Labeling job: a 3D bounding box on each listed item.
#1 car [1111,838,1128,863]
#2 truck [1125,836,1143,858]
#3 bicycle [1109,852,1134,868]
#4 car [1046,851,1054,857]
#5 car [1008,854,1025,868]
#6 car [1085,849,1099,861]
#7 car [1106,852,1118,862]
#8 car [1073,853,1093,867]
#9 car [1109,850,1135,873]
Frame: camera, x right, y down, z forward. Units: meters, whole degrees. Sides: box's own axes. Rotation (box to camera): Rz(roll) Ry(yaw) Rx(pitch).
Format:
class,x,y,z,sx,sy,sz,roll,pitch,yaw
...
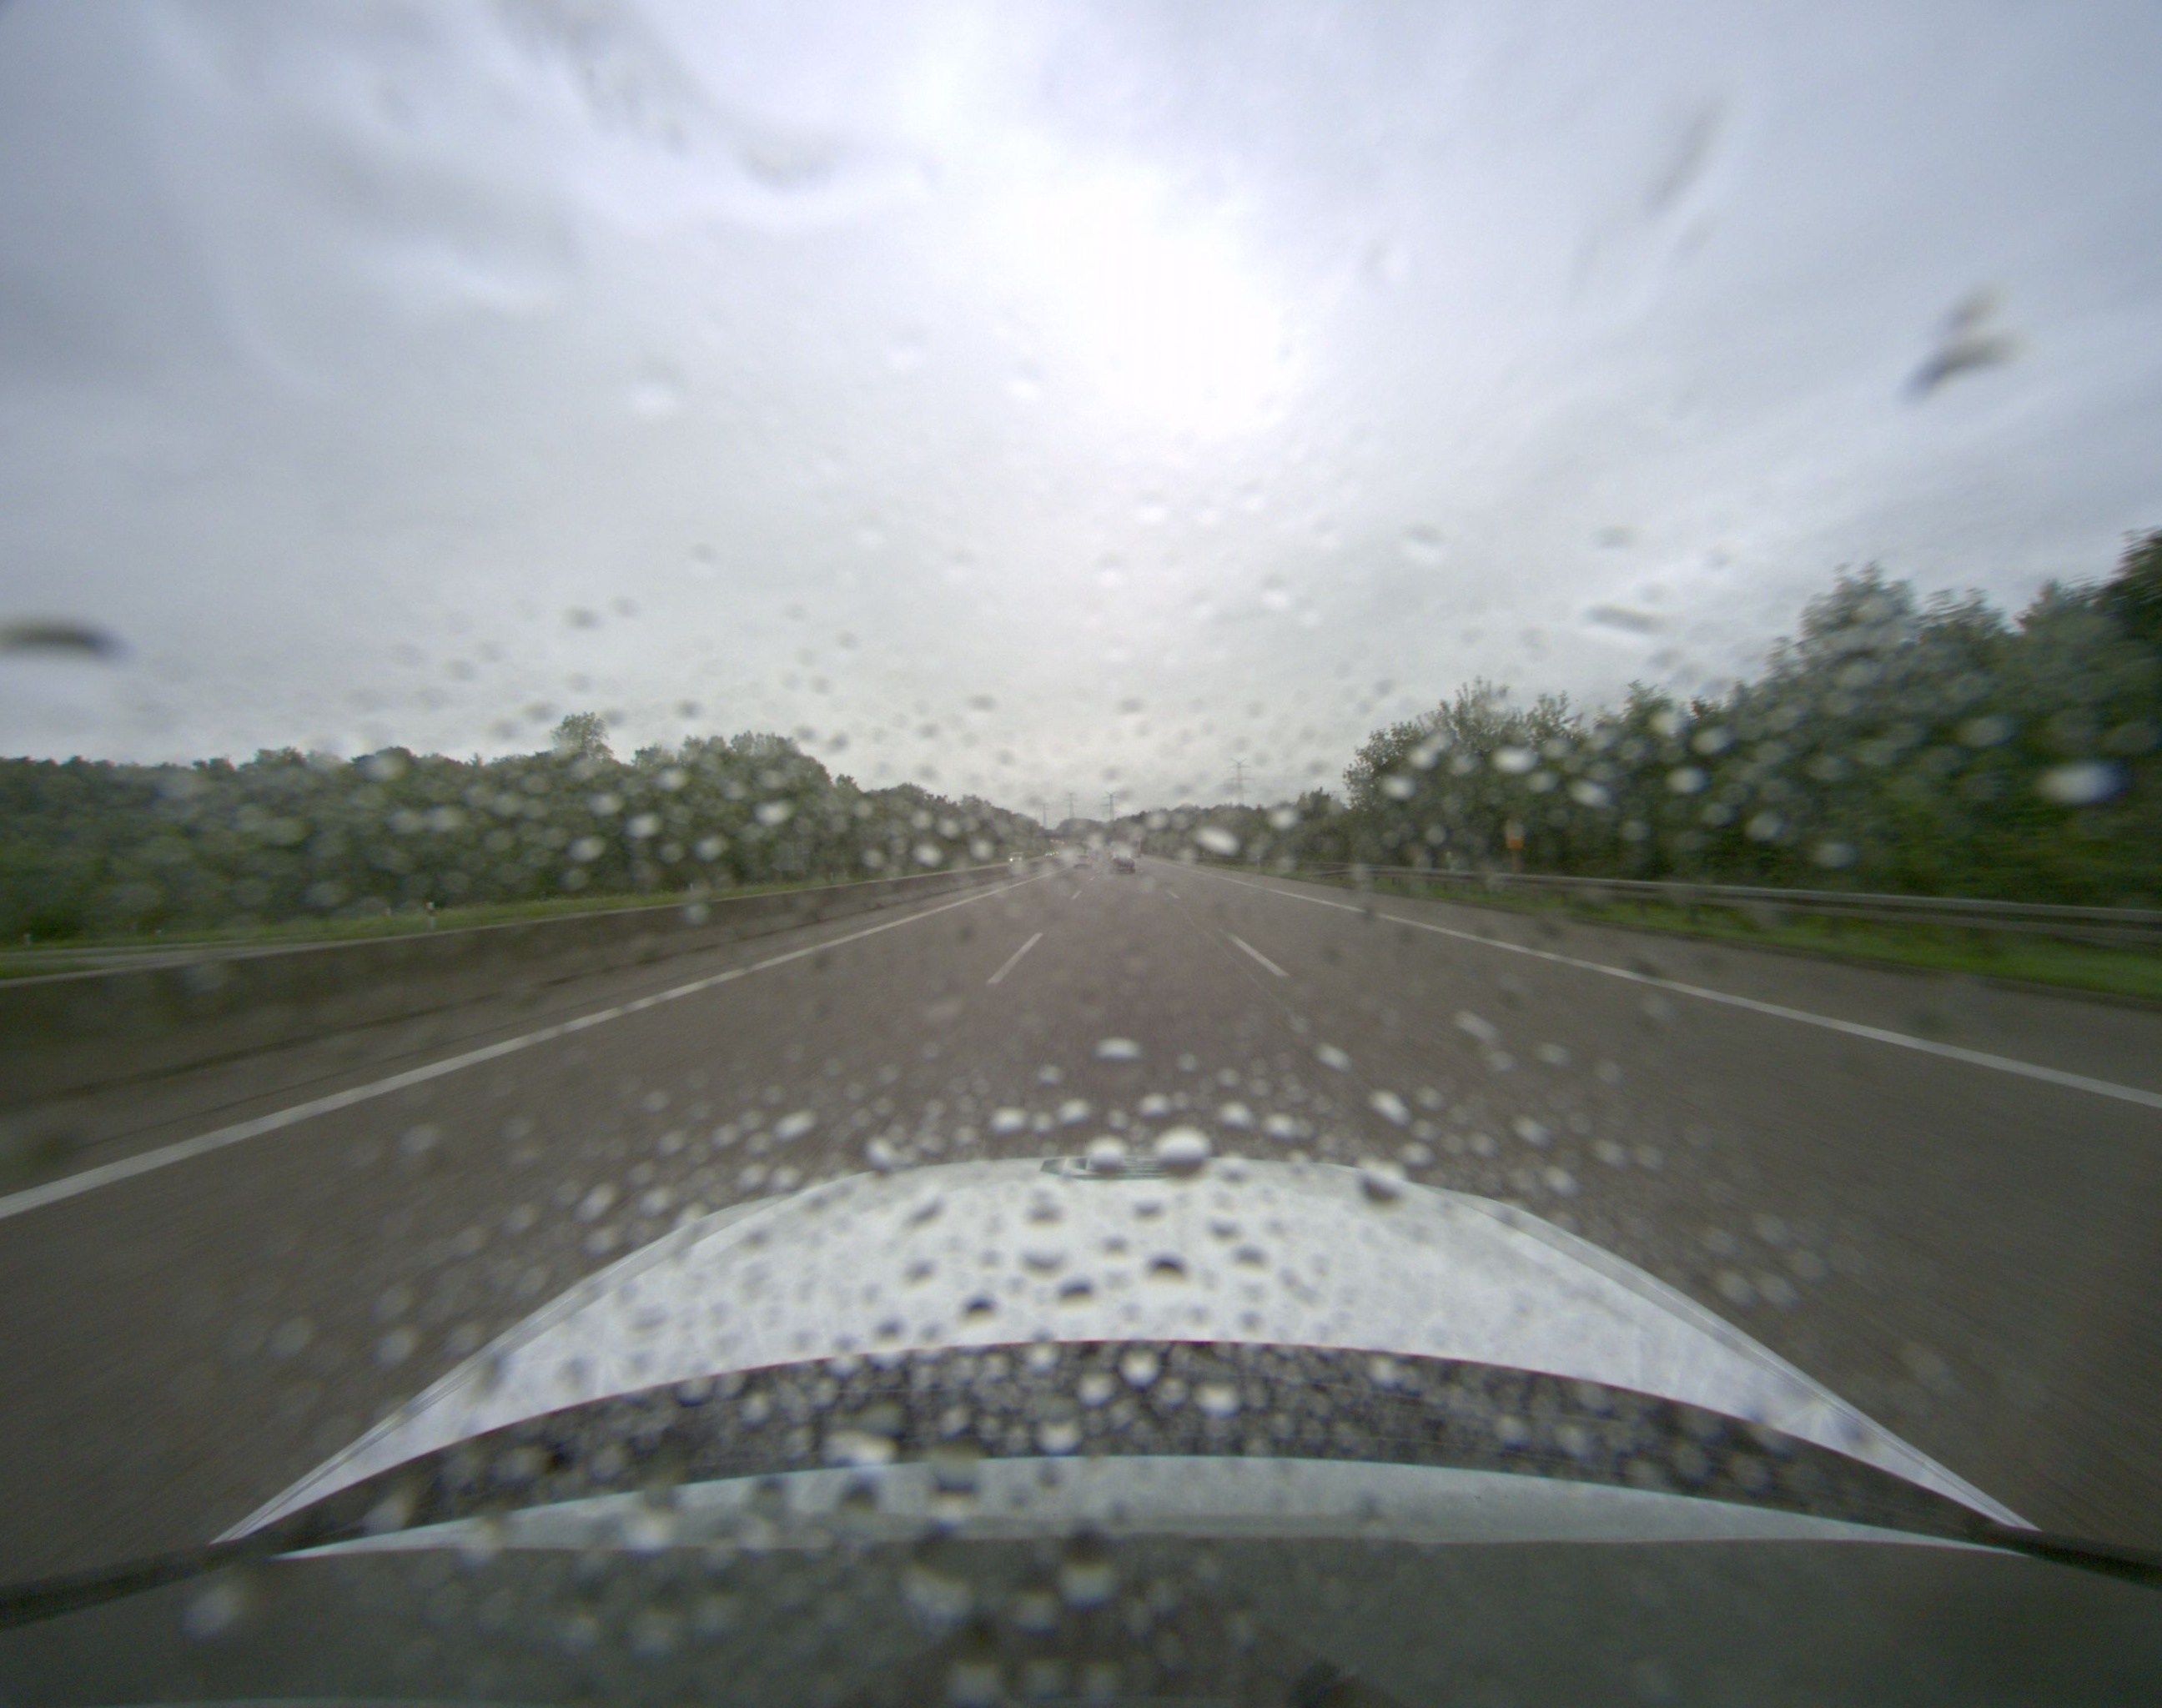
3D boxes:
class,x,y,z,sx,sy,sz,roll,pitch,yaw
car,4.673,-0.392,98.852,1.985,2.864,4.002,0,-1,2
truck,11.285,-1.553,174.993,3.589,4.332,13.209,-2,1,3
bicycle,2.873,0.459,57.922,1.747,1.090,0.914,-1,-1,1
car,-9.648,-0.045,251.410,1.984,1.618,4.004,0,-1,4
car,-10.018,1.047,126.934,1.987,2.013,5.761,-2,0,0
car,1.620,0.155,119.026,1.839,1.772,4.000,-2,0,1
car,4.992,0.429,130.390,1.850,1.422,4.002,-1,1,2
car,0.210,0.577,81.353,1.860,1.288,4.000,-2,0,1
car,3.022,0.552,60.890,1.853,1.568,4.966,-1,1,2
